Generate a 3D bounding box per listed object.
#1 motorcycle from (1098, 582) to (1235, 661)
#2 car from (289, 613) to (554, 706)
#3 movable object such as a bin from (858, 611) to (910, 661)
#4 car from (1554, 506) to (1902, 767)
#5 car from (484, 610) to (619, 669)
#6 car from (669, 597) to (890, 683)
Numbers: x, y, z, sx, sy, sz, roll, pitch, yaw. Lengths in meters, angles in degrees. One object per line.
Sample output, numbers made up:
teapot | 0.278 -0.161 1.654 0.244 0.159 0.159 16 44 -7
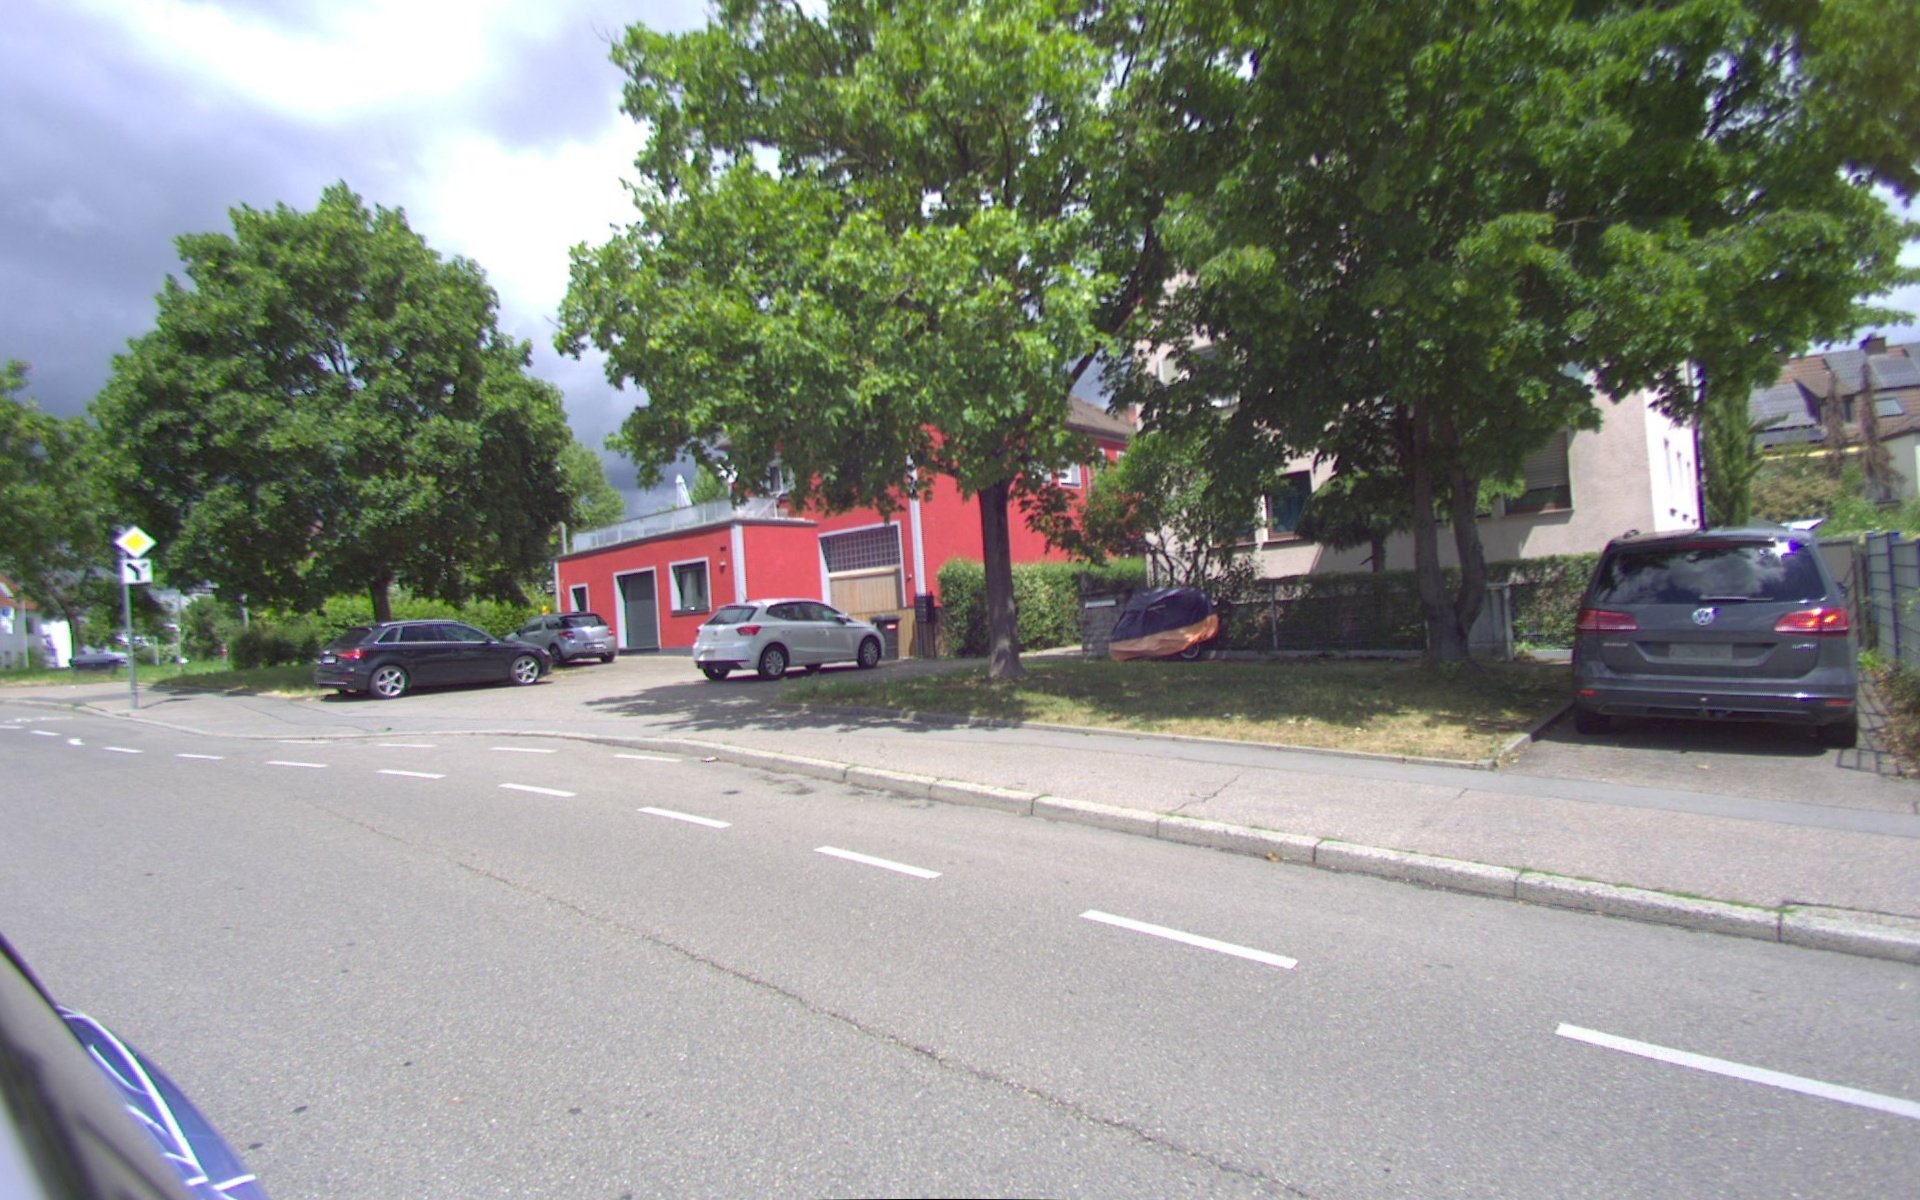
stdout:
motorcycle | 3.724 0.399 18.349 2.233 1.325 0.909 -2 1 38
car | -10.419 1.090 19.809 1.998 1.404 4.090 -3 1 39
movable object such as a bin | -1.725 0.822 23.080 0.880 1.069 0.747 -2 0 43
car | 6.889 0.145 9.137 1.998 1.729 4.654 0 2 38
car | -11.314 1.093 27.928 4.073 1.436 1.624 -3 0 39
car | -3.304 0.701 19.150 1.872 1.414 3.885 -3 -1 36
